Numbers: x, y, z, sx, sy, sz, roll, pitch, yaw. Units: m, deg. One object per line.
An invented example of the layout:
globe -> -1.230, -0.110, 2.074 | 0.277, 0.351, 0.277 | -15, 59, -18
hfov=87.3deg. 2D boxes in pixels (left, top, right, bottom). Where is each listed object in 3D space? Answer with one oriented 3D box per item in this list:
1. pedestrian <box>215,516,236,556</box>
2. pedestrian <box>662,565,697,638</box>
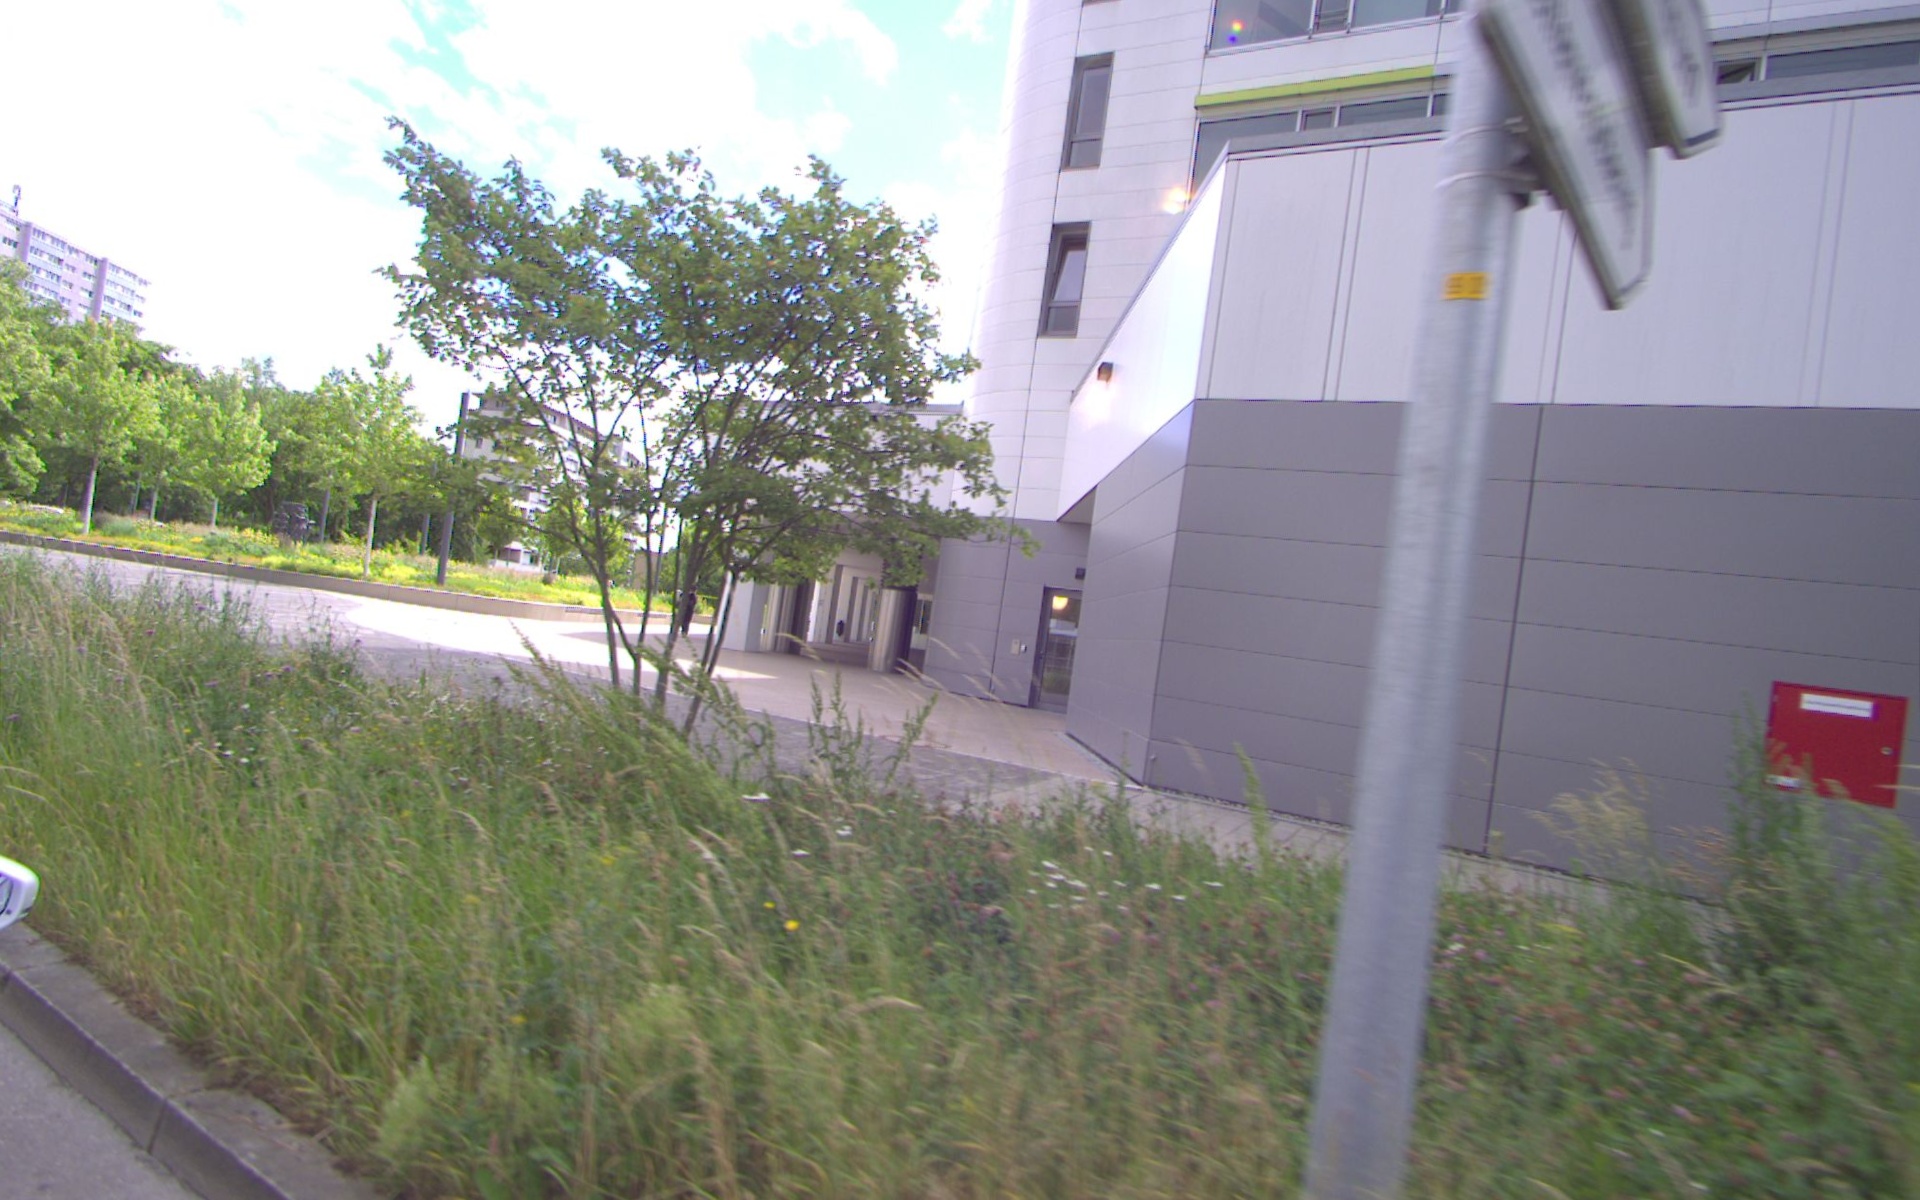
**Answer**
pedestrian -> -38.395, -3.358, 52.573 | 0.399, 1.973, 0.577 | 7, -1, 30
pedestrian -> -8.246, 0.064, 29.565 | 0.685, 2.035, 0.606 | 9, -3, -20
